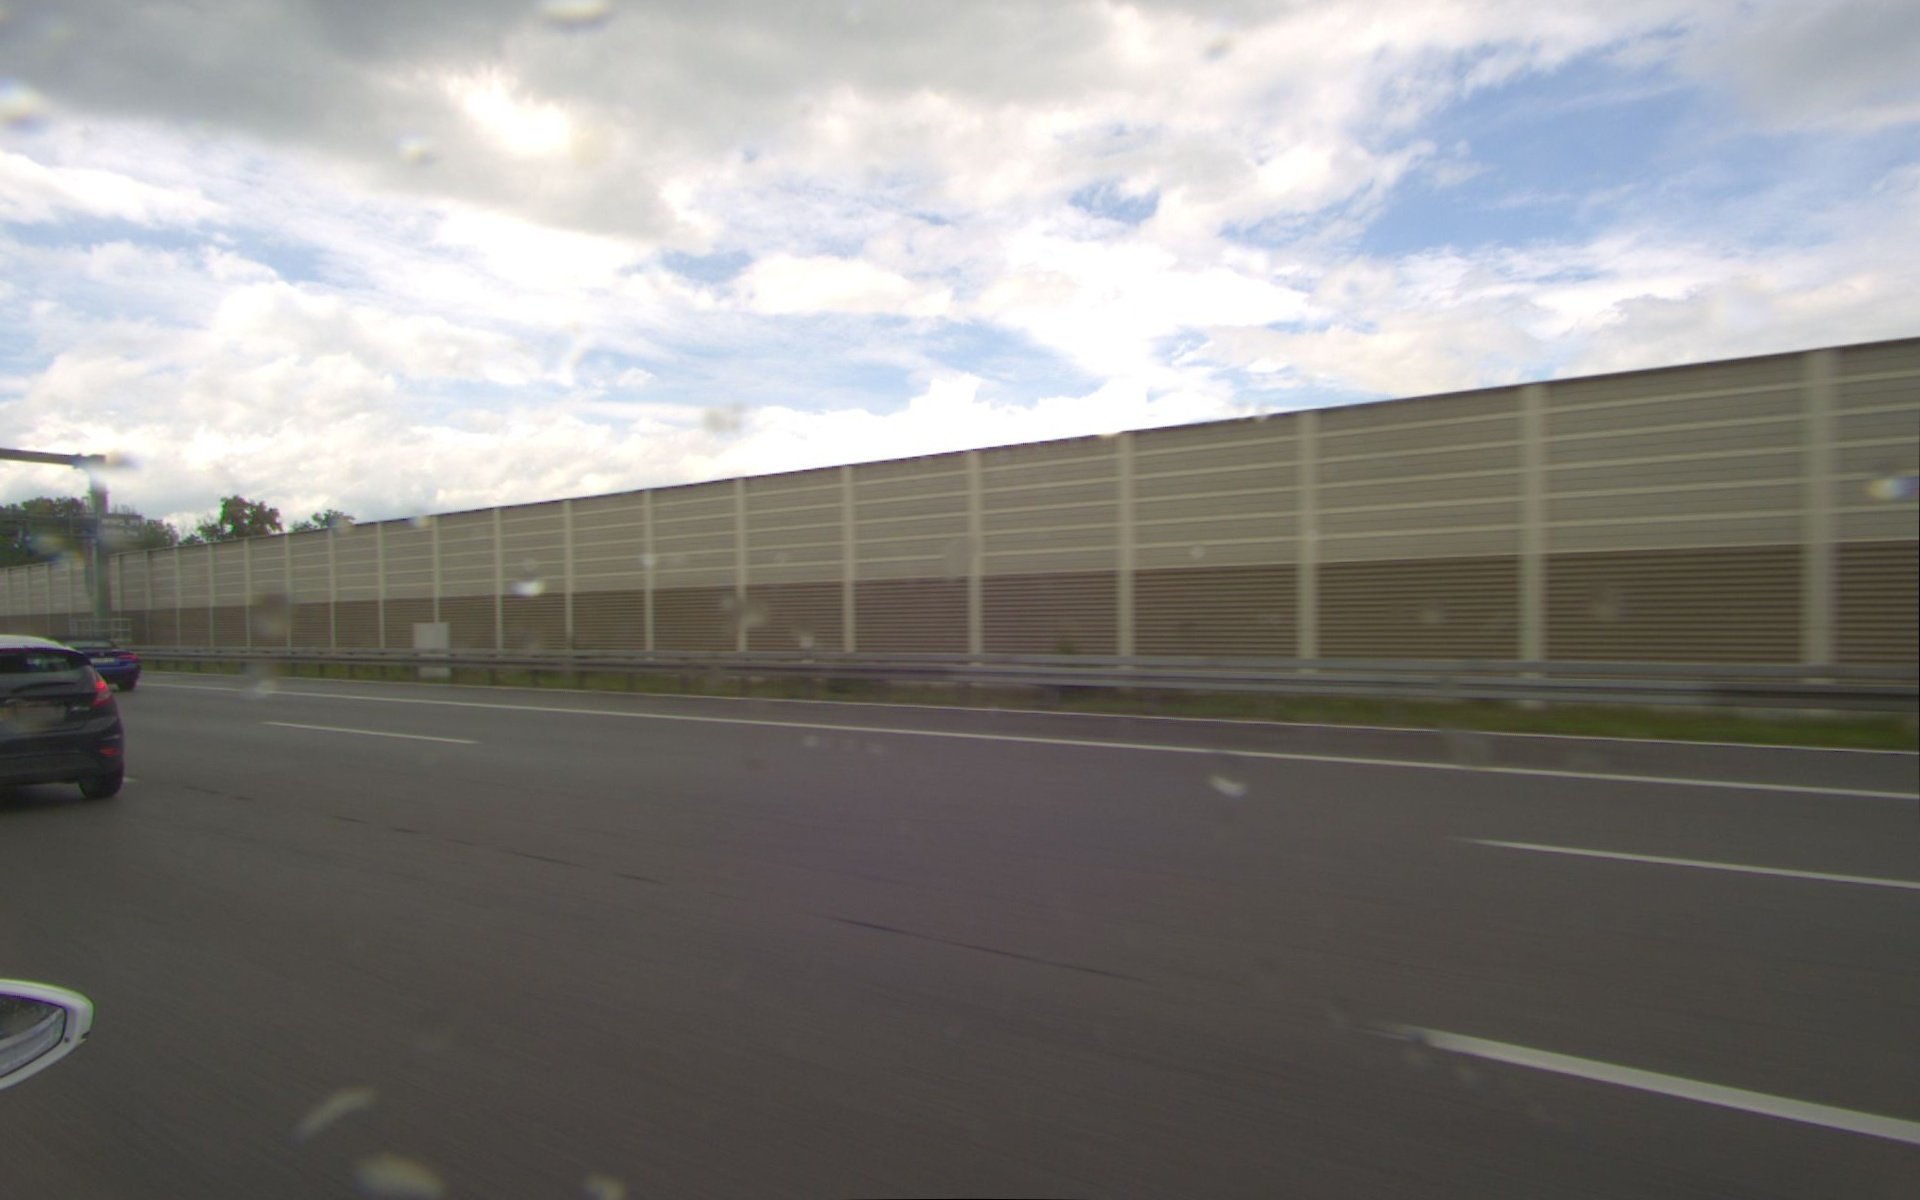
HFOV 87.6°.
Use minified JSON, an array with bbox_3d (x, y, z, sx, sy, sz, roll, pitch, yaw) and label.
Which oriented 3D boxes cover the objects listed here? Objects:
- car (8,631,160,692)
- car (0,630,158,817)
[{"bbox_3d":[-22.816,1.545,26.039,4.173,1.437,1.945,-1,-1,33],"label":"car"},{"bbox_3d":[-9.110,1.007,9.025,4.218,1.435,1.714,-1,-1,33],"label":"car"}]
